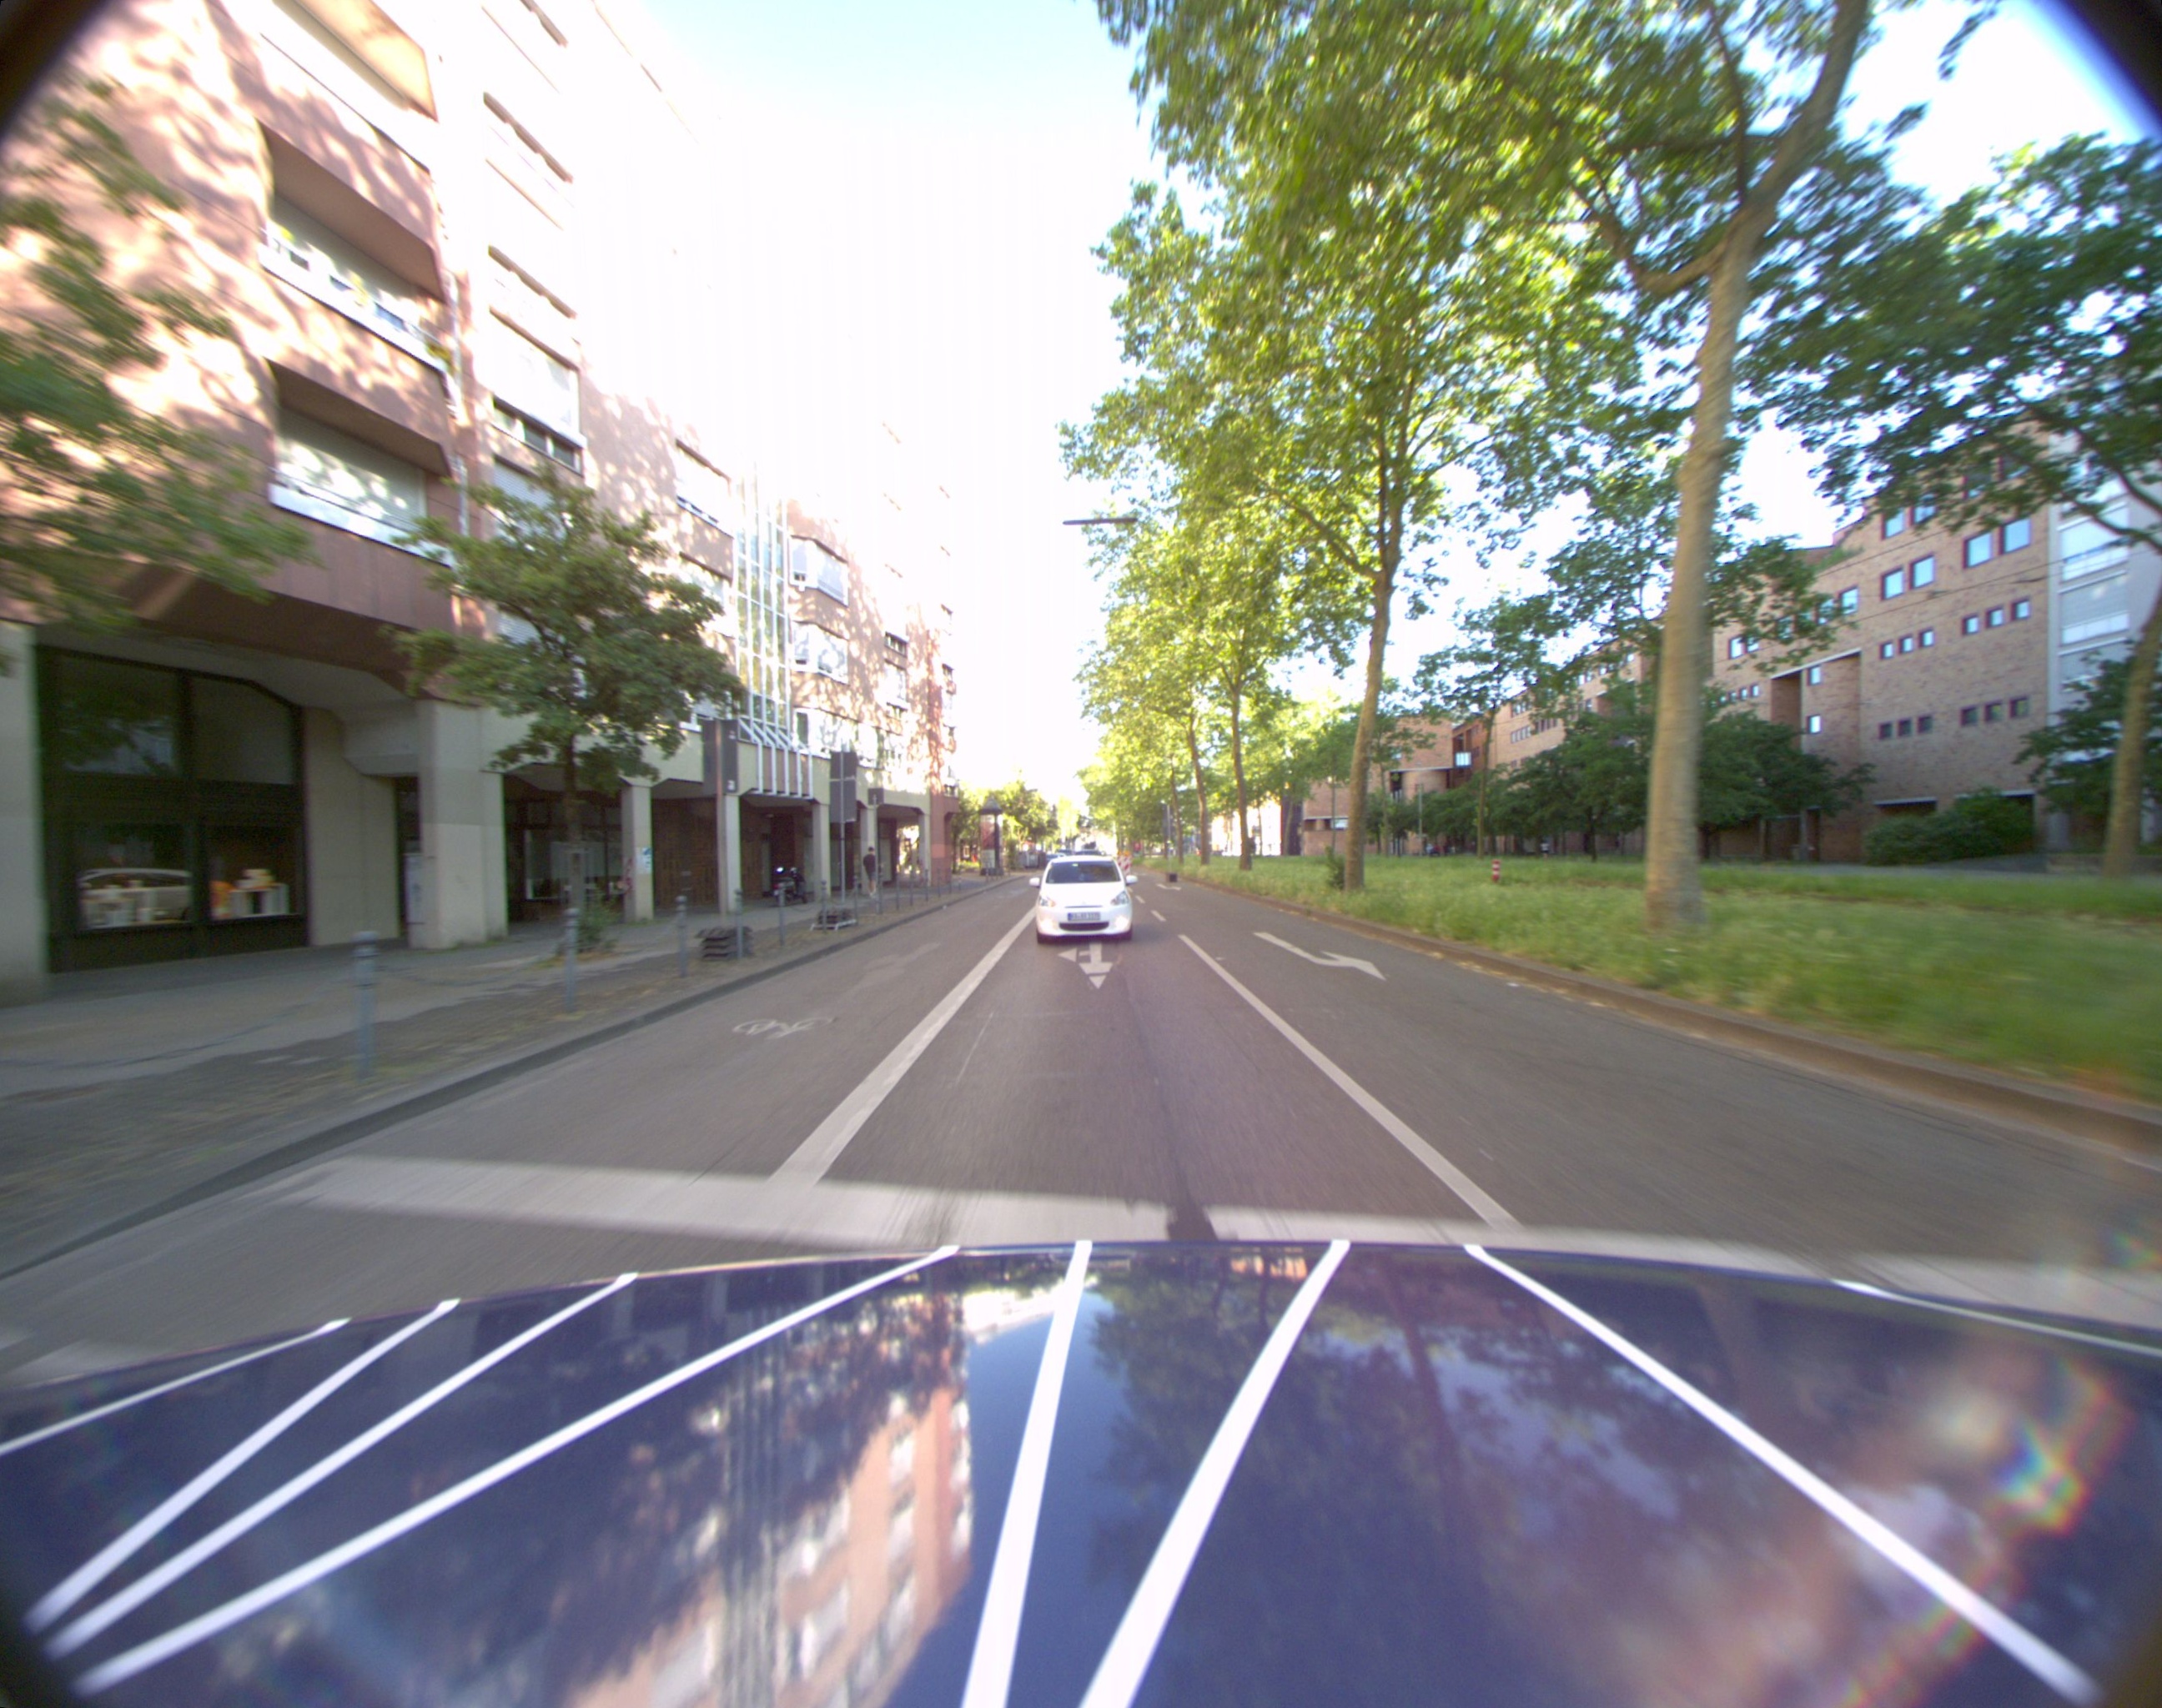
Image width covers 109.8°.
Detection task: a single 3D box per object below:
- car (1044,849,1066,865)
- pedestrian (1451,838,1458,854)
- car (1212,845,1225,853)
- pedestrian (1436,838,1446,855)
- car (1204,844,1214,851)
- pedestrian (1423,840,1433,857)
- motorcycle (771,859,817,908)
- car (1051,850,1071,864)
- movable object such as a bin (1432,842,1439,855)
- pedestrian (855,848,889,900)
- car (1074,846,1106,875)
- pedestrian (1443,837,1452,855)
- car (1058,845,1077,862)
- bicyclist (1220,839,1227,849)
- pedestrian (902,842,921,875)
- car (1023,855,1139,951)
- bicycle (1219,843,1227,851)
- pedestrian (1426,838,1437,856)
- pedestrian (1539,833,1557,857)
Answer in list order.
[{"bbox_3d":[-2.506,0.294,74.376,1.706,1.475,4.249,0,1,4],"label":"car"},{"bbox_3d":[36.111,-0.777,73.487,0.484,1.497,0.463,-1,1,-5],"label":"pedestrian"},{"bbox_3d":[26.268,-0.993,145.059,1.675,1.421,4.149,-1,0,0],"label":"car"},{"bbox_3d":[35.051,-0.739,74.002,0.665,1.607,0.756,-1,1,0],"label":"pedestrian"},{"bbox_3d":[26.823,-1.409,158.929,1.617,1.421,3.221,-1,1,0],"label":"car"},{"bbox_3d":[34.470,-0.564,75.470,0.665,1.607,0.756,-1,1,0],"label":"pedestrian"},{"bbox_3d":[-8.604,0.853,22.871,0.489,1.364,2.090,-1,1,2],"label":"motorcycle"},{"bbox_3d":[-2.094,0.266,80.244,1.705,1.457,4.176,0,1,5],"label":"car"},{"bbox_3d":[34.162,-0.506,73.252,0.356,1.272,0.756,-1,1,1],"label":"movable object such as a bin"},{"bbox_3d":[-7.151,0.670,26.037,0.782,1.728,0.837,-1,1,10],"label":"pedestrian"},{"bbox_3d":[0.569,0.348,45.922,1.824,1.630,4.000,-1,1,2],"label":"car"},{"bbox_3d":[35.614,-0.780,73.817,0.612,1.670,0.596,-1,1,0],"label":"pedestrian"},{"bbox_3d":[-1.526,-0.070,87.531,2.043,1.932,5.197,1,1,0],"label":"car"},{"bbox_3d":[22.887,-1.673,122.380,0.943,1.562,1.209,-1,1,2],"label":"bicyclist"},{"bbox_3d":[-10.398,0.256,46.547,0.850,1.970,0.816,-2,2,-35],"label":"pedestrian"},{"bbox_3d":[0.163,0.801,14.519,1.720,1.443,4.426,-3,0,6],"label":"car"},{"bbox_3d":[22.886,-1.141,122.483,0.959,1.120,2.436,-1,1,2],"label":"bicycle"},{"bbox_3d":[34.123,-0.668,74.031,0.665,1.712,0.796,-1,1,1],"label":"pedestrian"},{"bbox_3d":[35.152,-0.684,57.205,0.825,1.821,0.901,-1,1,7],"label":"pedestrian"}]
